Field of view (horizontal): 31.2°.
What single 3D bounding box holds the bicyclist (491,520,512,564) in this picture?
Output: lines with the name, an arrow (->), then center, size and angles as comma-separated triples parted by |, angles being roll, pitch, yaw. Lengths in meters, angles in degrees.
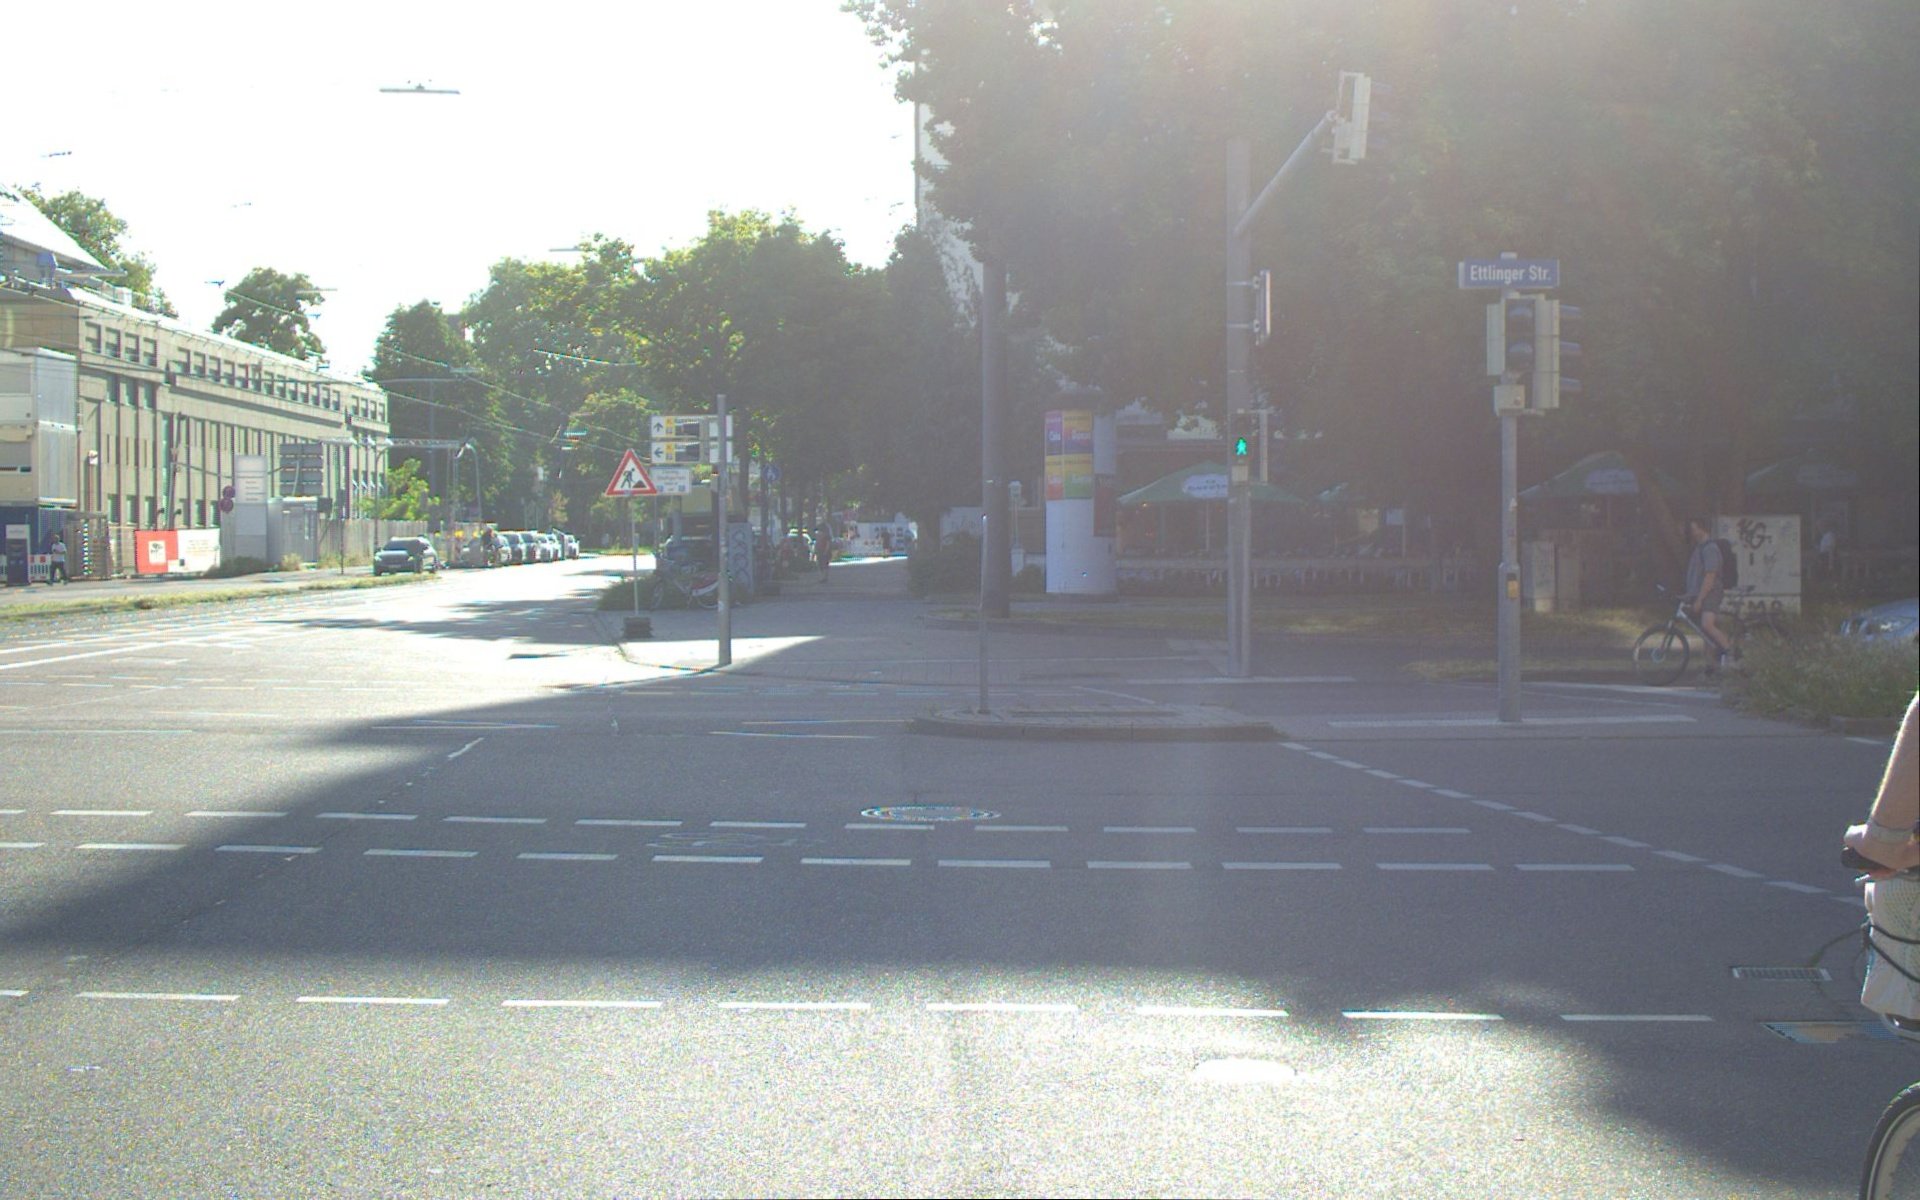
bicyclist -> -19.998, -2.515, 149.953 | 0.750, 1.913, 1.215 | 1, 0, -2

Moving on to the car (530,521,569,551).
car -> -23.232, -3.626, 194.693 | 1.993, 1.638, 4.001 | -1, 1, -4

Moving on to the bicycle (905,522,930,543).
bicycle -> -2.486, -3.946, 200.429 | 0.890, 1.215, 2.794 | 1, 1, -12

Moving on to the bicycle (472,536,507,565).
bicycle -> -19.727, -2.082, 144.222 | 0.751, 1.201, 3.107 | 1, 1, 5

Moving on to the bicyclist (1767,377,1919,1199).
bicyclist -> 1.667, 0.532, 5.041 | 0.623, 1.709, 0.913 | -1, 1, -10

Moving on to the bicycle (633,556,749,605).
bicycle -> -5.263, -0.384, 67.208 | 2.244, 0.937, 0.654 | -1, 1, -5

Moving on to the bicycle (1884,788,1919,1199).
bicycle -> 2.427, 0.933, 6.515 | 0.582, 1.040, 1.747 | -1, 1, -12

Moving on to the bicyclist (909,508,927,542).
bicyclist -> -2.466, -4.369, 200.411 | 0.890, 2.007, 0.749 | 1, 0, -12

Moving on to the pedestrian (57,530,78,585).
pedestrian -> -31.153, -1.488, 120.033 | 0.588, 1.883, 0.478 | 1, 0, -1

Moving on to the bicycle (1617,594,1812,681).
bicycle -> 7.972, 0.390, 36.378 | 1.944, 0.886, 0.718 | 1, 0, 6

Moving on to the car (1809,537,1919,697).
car -> 10.836, 0.176, 33.571 | 4.576, 1.511, 2.000 | 1, 0, 0

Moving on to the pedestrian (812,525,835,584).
pedestrian -> -3.884, -1.296, 97.546 | 0.576, 1.683, 0.585 | -1, 1, -8

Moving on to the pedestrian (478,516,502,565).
pedestrian -> -19.712, -2.489, 144.230 | 0.751, 2.056, 1.050 | 1, 0, 5

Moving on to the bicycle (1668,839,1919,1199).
bicycle -> 1.669, 0.950, 5.069 | 0.623, 1.040, 1.747 | -1, 1, -10

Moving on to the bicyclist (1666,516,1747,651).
bicyclist -> 7.890, -0.173, 36.377 | 0.747, 1.401, 0.702 | 1, 0, 6

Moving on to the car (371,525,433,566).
car -> -22.008, -2.168, 135.760 | 1.993, 1.593, 4.001 | 0, 1, -3
